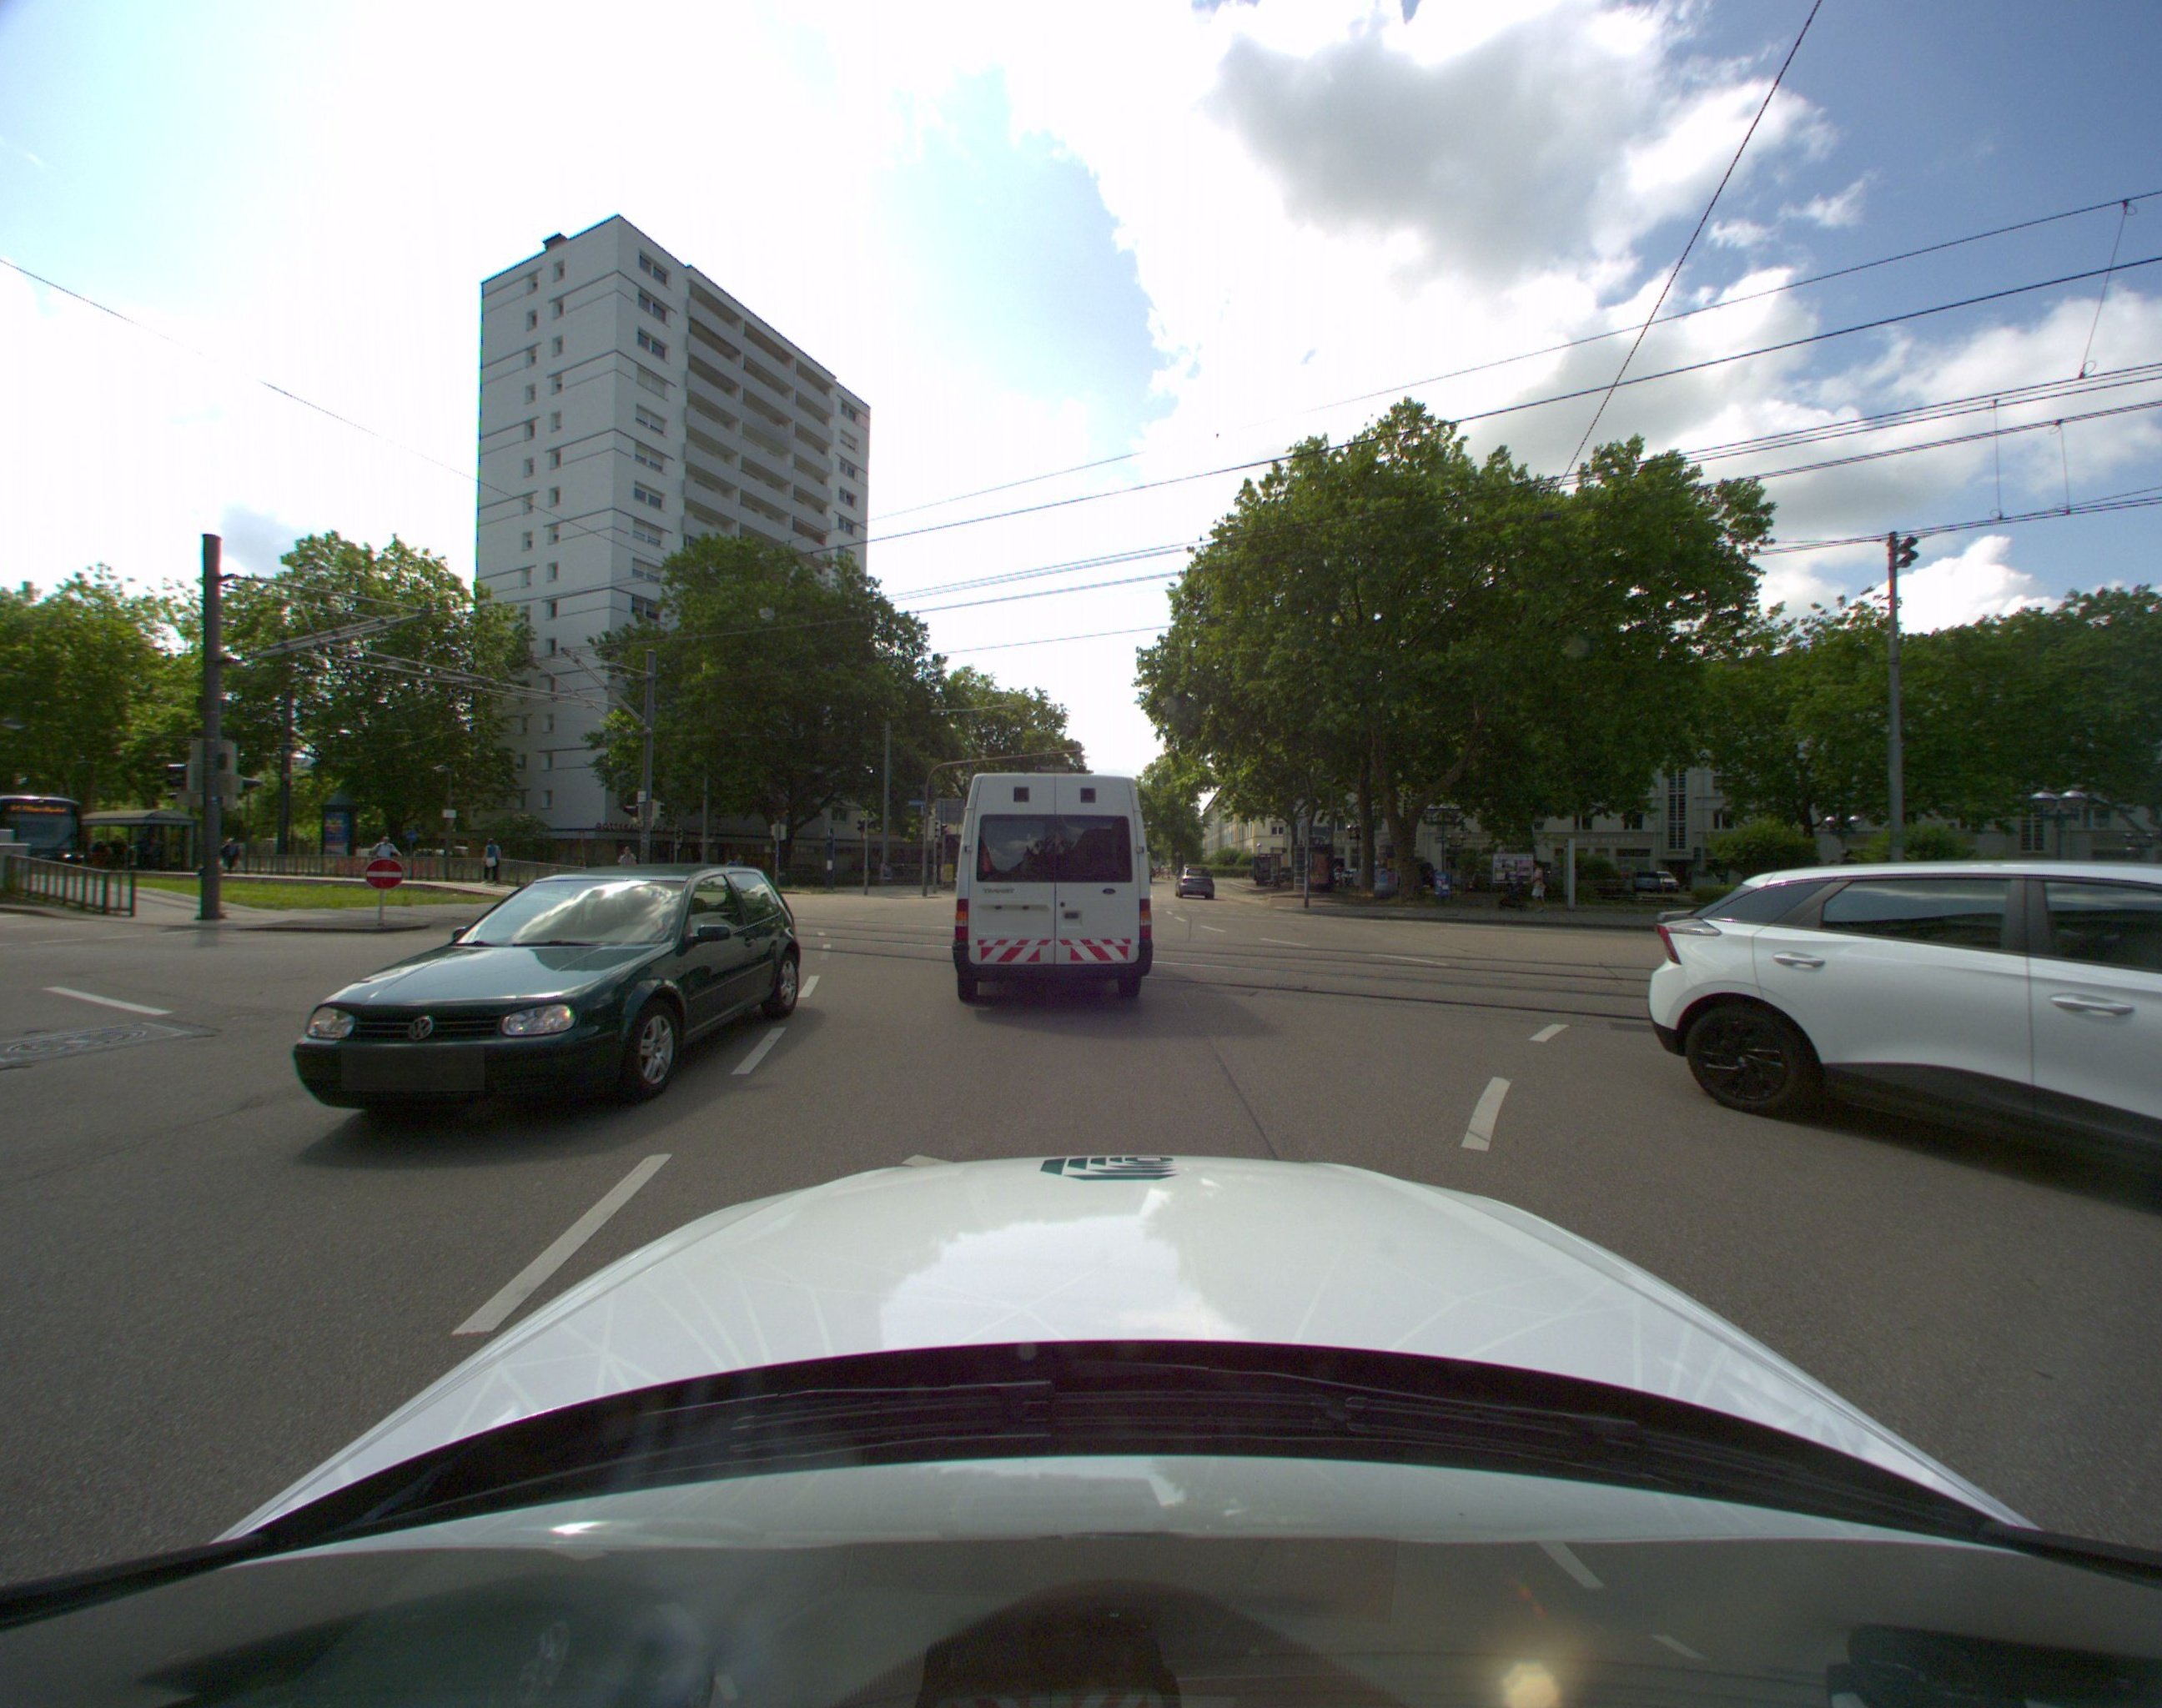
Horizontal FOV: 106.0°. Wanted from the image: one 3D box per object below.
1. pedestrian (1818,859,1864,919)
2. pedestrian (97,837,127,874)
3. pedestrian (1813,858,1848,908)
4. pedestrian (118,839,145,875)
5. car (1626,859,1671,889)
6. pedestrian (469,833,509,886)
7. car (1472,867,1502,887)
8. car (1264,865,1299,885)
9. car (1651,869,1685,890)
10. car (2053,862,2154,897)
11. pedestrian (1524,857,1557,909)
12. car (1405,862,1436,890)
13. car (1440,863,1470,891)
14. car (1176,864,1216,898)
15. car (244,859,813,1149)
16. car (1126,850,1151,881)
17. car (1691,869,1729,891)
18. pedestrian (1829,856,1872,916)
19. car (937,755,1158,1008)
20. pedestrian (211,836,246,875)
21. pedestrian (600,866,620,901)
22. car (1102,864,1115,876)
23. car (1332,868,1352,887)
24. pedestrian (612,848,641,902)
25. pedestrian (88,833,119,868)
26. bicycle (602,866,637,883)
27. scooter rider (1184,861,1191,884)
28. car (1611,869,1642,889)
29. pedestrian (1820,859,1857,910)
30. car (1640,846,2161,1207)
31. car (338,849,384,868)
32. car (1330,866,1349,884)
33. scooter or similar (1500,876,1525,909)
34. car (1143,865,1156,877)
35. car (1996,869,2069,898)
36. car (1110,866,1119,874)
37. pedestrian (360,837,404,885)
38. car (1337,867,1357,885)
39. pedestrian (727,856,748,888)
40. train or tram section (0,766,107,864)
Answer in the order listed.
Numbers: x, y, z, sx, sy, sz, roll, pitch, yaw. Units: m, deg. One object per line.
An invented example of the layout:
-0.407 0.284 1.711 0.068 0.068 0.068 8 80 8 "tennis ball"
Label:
22.235 1.023 23.833 0.714 1.722 0.693 1 -1 2 "pedestrian"
-48.984 0.097 41.169 0.897 1.849 0.707 0 -1 25 "pedestrian"
26.831 1.019 29.169 0.694 1.750 0.606 1 -1 2 "pedestrian"
-48.801 0.166 41.856 0.779 1.849 0.707 0 -1 25 "pedestrian"
40.364 1.405 58.020 1.975 2.014 4.022 0 -1 25 "car"
-21.642 0.192 29.792 0.836 1.899 0.834 0 -1 26 "pedestrian"
30.795 1.756 61.755 1.975 1.422 4.023 0 -1 27 "car"
16.974 1.753 68.821 2.009 1.600 4.564 0 -1 24 "car"
47.530 2.058 66.019 1.722 1.637 4.024 0 -1 28 "car"
60.090 1.469 47.995 2.077 1.905 4.518 0 -1 28 "car"
14.831 0.932 26.288 0.911 1.646 0.573 0 -1 28 "pedestrian"
26.739 1.731 64.030 1.975 2.076 4.023 0 -1 27 "car"
28.782 1.727 62.634 1.975 2.076 4.023 0 -1 27 "car"
5.548 1.264 39.500 1.684 1.538 3.472 0 0 4 "car"
-3.476 0.782 6.120 1.708 1.433 3.816 -1 0 -1 "car"
5.122 0.974 72.614 2.110 2.641 6.335 1 0 4 "car"
49.948 2.060 64.762 1.722 1.637 4.024 0 -1 28 "car"
23.140 0.951 24.500 0.665 1.764 0.693 1 -1 2 "pedestrian"
-0.494 0.282 9.951 2.044 2.333 4.705 1 -1 -5 "car"
-40.137 0.077 38.350 0.865 1.775 0.865 0 -1 26 "pedestrian"
-14.618 0.922 25.261 0.423 1.063 0.431 2 -1 -44 "pedestrian"
4.007 2.343 118.734 1.778 1.661 4.320 1 0 4 "car"
20.020 1.806 62.524 1.454 1.389 3.081 1 -1 18 "car"
-14.433 0.653 25.842 0.668 1.666 0.629 0 -1 45 "pedestrian"
-53.158 -0.192 44.279 1.018 1.873 0.818 0 -1 25 "pedestrian"
-27.338 1.213 48.206 1.736 1.009 0.528 1 -1 -37 "bicycle"
8.264 1.414 63.189 0.524 1.812 0.649 1 -1 1 "scooter rider"
45.029 2.056 67.330 1.722 1.637 4.024 0 -1 28 "car"
25.951 1.037 27.904 0.694 1.750 0.606 1 -1 2 "pedestrian"
5.314 0.724 3.860 1.822 1.506 4.100 0 0 -22 "car"
-69.342 0.450 78.441 4.284 1.815 1.824 0 -1 27 "car"
24.597 2.007 77.492 1.453 1.666 3.083 0 -1 22 "car"
14.138 1.247 26.673 0.699 1.056 0.494 0 -1 28 "scooter or similar"
9.171 2.244 109.301 1.717 1.555 3.636 0 -1 3 "car"
66.510 2.039 56.985 1.975 1.964 4.024 0 -1 28 "car"
7.234 3.457 175.488 1.692 1.661 3.755 1 0 6 "car"
-26.081 0.265 30.387 1.032 1.780 0.856 0 -1 26 "pedestrian"
21.592 1.755 65.990 1.453 1.389 3.251 0 -1 19 "car"
-17.359 0.898 41.129 0.775 1.599 0.538 0 -1 23 "pedestrian"
-45.034 -1.449 33.706 12.854 3.584 2.832 0 -1 25 "train or tram section"
